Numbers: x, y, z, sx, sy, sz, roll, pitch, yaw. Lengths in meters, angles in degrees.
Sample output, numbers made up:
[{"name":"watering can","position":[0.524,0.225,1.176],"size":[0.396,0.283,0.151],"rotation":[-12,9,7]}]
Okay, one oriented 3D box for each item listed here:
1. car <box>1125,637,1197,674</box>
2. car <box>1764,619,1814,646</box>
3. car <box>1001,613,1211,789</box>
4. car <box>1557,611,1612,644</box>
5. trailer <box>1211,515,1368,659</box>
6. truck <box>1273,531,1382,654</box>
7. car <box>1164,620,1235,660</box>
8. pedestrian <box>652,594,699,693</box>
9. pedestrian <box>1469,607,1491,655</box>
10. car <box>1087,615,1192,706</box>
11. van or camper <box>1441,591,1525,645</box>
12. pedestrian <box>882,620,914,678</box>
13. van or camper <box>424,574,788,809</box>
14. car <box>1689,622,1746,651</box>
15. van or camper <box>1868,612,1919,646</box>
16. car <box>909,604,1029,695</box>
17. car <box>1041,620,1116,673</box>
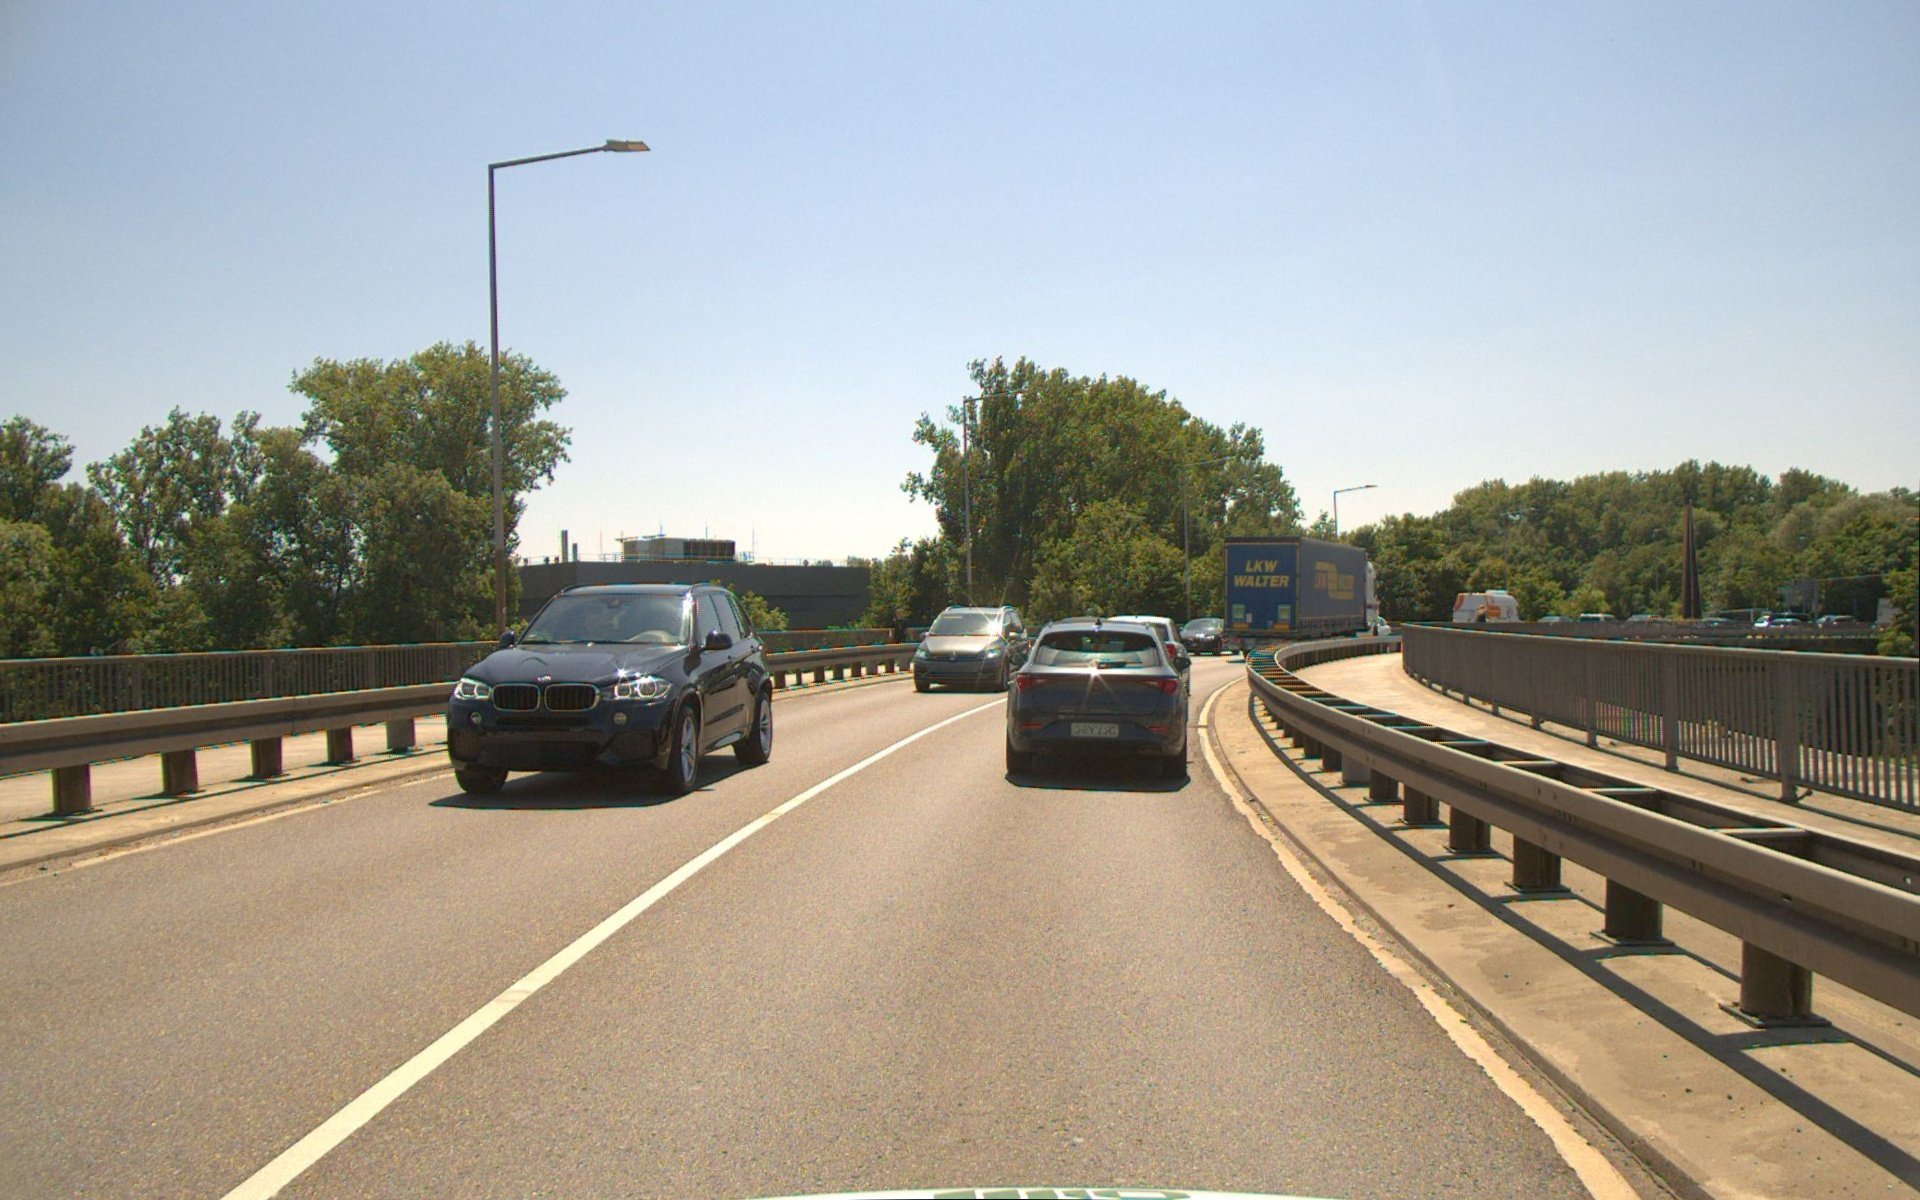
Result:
[{"name":"car","position":[8.271,2.244,67.786],"size":[1.753,1.440,4.573],"rotation":[-1,-2,23]},{"name":"car","position":[59.424,2.316,118.554],"size":[3.963,1.882,1.867],"rotation":[2,-1,-41]},{"name":"car","position":[1.341,0.910,16.550],"size":[1.807,1.525,3.758],"rotation":[0,0,1]},{"name":"car","position":[37.340,1.665,98.888],"size":[1.860,1.882,3.978],"rotation":[0,-1,40]},{"name":"trailer","position":[12.287,-0.326,60.307],"size":[3.070,4.695,12.944],"rotation":[1,-1,23]},{"name":"truck","position":[14.903,-0.200,66.664],"size":[3.105,4.665,7.395],"rotation":[0,-1,22]},{"name":"car","position":[9.129,1.518,62.812],"size":[1.753,1.444,3.772],"rotation":[-2,-2,22]},{"name":"pedestrian","position":[-5.327,0.810,31.053],"size":[0.624,1.814,0.812],"rotation":[1,-1,7]},{"name":"pedestrian","position":[21.882,1.312,69.598],"size":[0.723,2.002,0.733],"rotation":[0,-1,29]},{"name":"car","position":[3.261,1.039,29.541],"size":[1.559,1.487,3.547],"rotation":[1,-1,11]},{"name":"van or camper","position":[27.498,0.923,86.827],"size":[2.169,2.759,5.894],"rotation":[0,0,40]},{"name":"pedestrian","position":[-1.724,1.370,45.966],"size":[0.699,1.589,0.695],"rotation":[-2,-2,16]},{"name":"van or camper","position":[-2.994,0.756,15.136],"size":[1.951,1.792,4.700],"rotation":[-1,-1,5]},{"name":"car","position":[51.382,2.460,112.167],"size":[3.956,1.882,1.870],"rotation":[2,-1,-37]},{"name":"van or camper","position":[76.306,2.426,133.953],"size":[4.890,2.331,2.470],"rotation":[5,2,-29]},{"name":"car","position":[0.244,0.992,32.955],"size":[1.855,1.684,4.260],"rotation":[-1,-2,7]},{"name":"car","position":[3.467,1.334,47.974],"size":[1.751,1.444,3.776],"rotation":[-2,-1,10]}]
